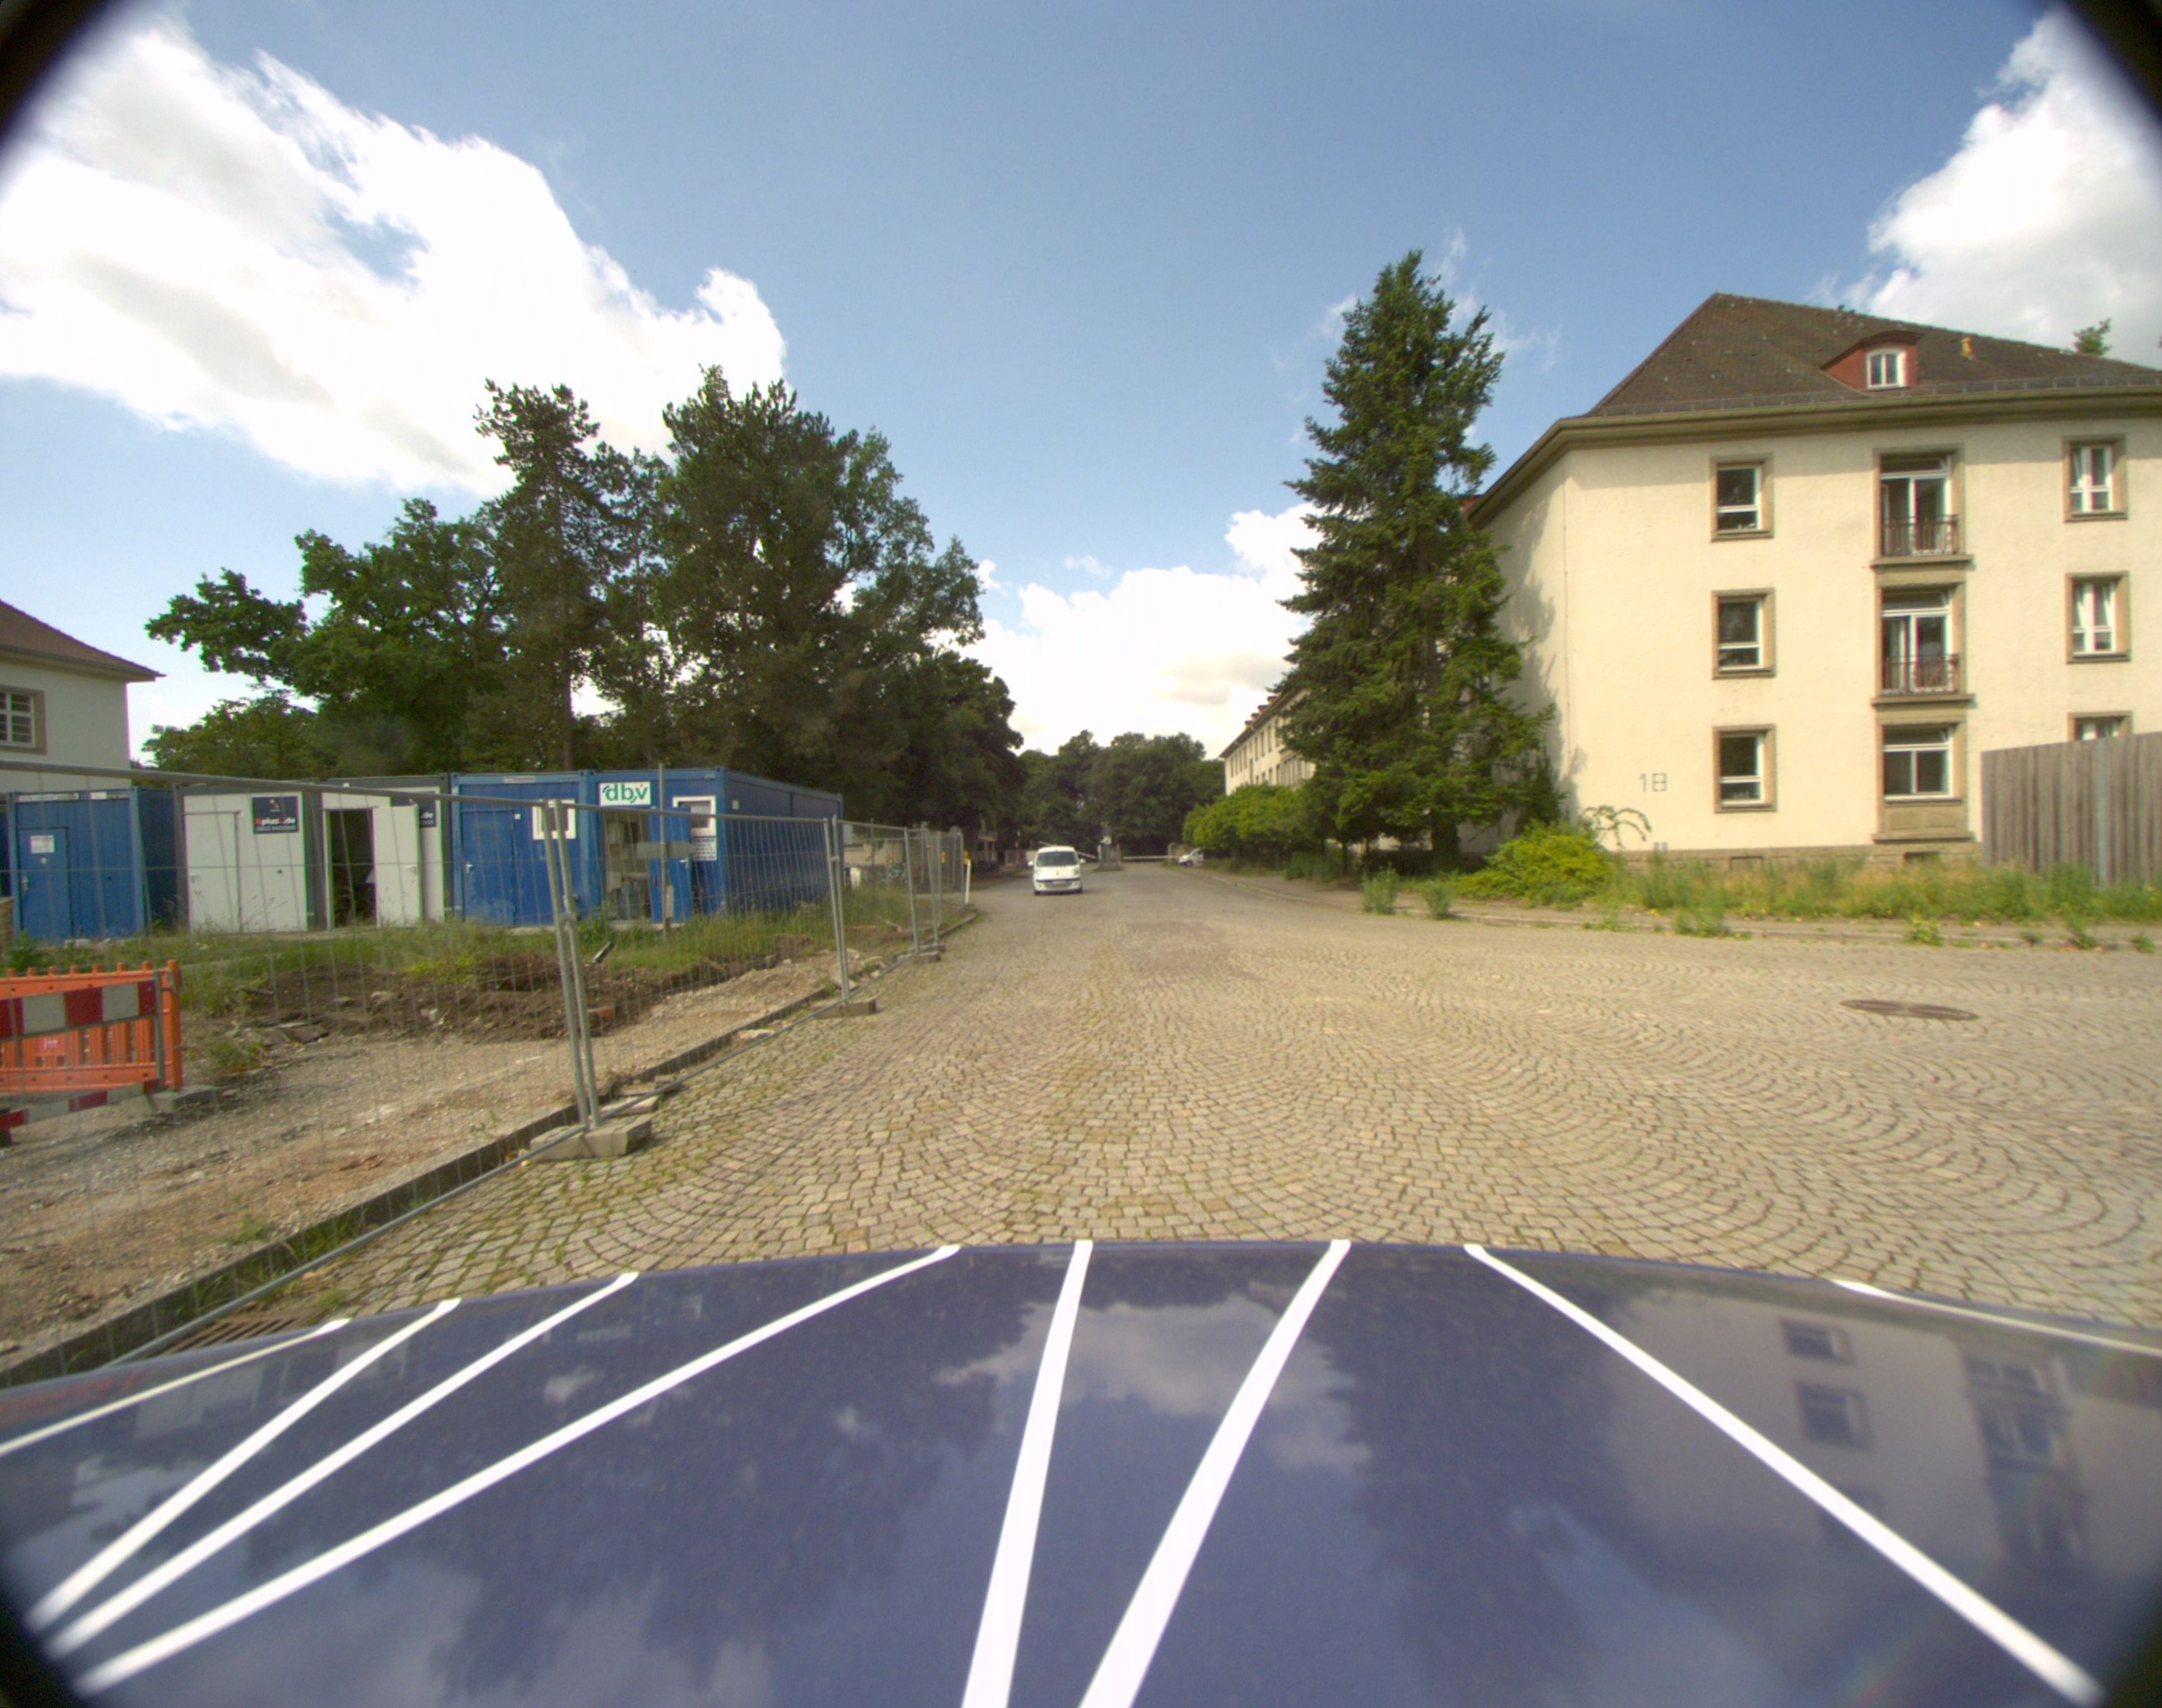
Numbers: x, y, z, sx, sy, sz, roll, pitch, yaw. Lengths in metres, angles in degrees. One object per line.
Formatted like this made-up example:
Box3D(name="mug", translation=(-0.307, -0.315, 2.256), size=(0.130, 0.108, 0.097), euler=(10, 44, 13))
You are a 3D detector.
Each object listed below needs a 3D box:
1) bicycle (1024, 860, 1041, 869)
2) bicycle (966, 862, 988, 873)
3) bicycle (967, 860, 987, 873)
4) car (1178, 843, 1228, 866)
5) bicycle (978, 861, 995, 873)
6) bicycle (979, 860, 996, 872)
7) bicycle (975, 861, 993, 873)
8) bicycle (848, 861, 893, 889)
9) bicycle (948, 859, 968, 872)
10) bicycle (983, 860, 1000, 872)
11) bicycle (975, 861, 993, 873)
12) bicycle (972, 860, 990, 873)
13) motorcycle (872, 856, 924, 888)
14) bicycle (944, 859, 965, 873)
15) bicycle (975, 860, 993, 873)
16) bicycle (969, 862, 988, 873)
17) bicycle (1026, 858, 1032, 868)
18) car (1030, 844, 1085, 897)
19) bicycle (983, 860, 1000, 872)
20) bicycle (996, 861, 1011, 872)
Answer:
Box3D(name="bicycle", translation=(-5.342, 1.148, 83.863), size=(1.868, 0.934, 0.503), euler=(-1, 1, -3))
Box3D(name="bicycle", translation=(-9.207, 1.193, 67.290), size=(1.749, 0.970, 0.757), euler=(0, 0, -28))
Box3D(name="bicycle", translation=(-9.094, 1.078, 66.481), size=(1.682, 1.102, 0.338), euler=(0, 1, -11))
Box3D(name="car", translation=(11.590, 0.024, 72.168), size=(4.311, 1.796, 1.820), euler=(-5, 1, 0))
Box3D(name="bicycle", translation=(-9.062, 1.196, 72.530), size=(1.596, 1.134, 0.325), euler=(0, 1, -5))
Box3D(name="bicycle", translation=(-8.994, 1.187, 73.141), size=(1.617, 1.134, 0.325), euler=(0, 1, -5))
Box3D(name="bicycle", translation=(-9.121, 1.212, 71.498), size=(1.635, 1.044, 0.334), euler=(0, 1, -12))
Box3D(name="bicycle", translation=(-9.507, 0.942, 34.273), size=(1.900, 1.190, 0.657), euler=(-1, 1, 22))
Box3D(name="bicycle", translation=(-10.981, 1.036, 67.874), size=(1.745, 1.158, 0.608), euler=(0, 0, -2))
Box3D(name="bicycle", translation=(-8.693, 1.181, 73.953), size=(1.617, 1.134, 0.325), euler=(0, 1, -5))
Box3D(name="bicycle", translation=(-9.204, 1.227, 72.099), size=(1.596, 1.044, 0.325), euler=(0, 1, -5))
Box3D(name="bicycle", translation=(-9.061, 1.113, 68.749), size=(1.635, 1.183, 0.473), euler=(0, 1, -11))
Box3D(name="motorcycle", translation=(-8.778, 0.865, 36.518), size=(2.283, 1.476, 0.757), euler=(-1, 1, -3))
Box3D(name="bicycle", translation=(-11.156, 1.053, 66.852), size=(1.745, 1.158, 0.608), euler=(0, 0, -2))
Box3D(name="bicycle", translation=(-9.070, 1.148, 70.976), size=(1.635, 1.183, 0.498), euler=(0, 1, -10))
Box3D(name="bicycle", translation=(-9.153, 1.204, 67.987), size=(1.637, 0.970, 0.322), euler=(0, 1, -28))
Box3D(name="bicycle", translation=(-5.556, 0.964, 81.134), size=(0.474, 1.051, 1.733), euler=(-2, 0, 3))
Box3D(name="car", translation=(-0.841, 0.597, 29.022), size=(1.867, 1.749, 4.149), euler=(-4, 0, 0))
Box3D(name="bicycle", translation=(-8.781, 1.194, 74.388), size=(1.617, 1.134, 0.356), euler=(0, 1, -5))
Box3D(name="bicycle", translation=(-7.765, 1.250, 76.065), size=(1.407, 1.040, 0.338), euler=(-2, 1, -24))
